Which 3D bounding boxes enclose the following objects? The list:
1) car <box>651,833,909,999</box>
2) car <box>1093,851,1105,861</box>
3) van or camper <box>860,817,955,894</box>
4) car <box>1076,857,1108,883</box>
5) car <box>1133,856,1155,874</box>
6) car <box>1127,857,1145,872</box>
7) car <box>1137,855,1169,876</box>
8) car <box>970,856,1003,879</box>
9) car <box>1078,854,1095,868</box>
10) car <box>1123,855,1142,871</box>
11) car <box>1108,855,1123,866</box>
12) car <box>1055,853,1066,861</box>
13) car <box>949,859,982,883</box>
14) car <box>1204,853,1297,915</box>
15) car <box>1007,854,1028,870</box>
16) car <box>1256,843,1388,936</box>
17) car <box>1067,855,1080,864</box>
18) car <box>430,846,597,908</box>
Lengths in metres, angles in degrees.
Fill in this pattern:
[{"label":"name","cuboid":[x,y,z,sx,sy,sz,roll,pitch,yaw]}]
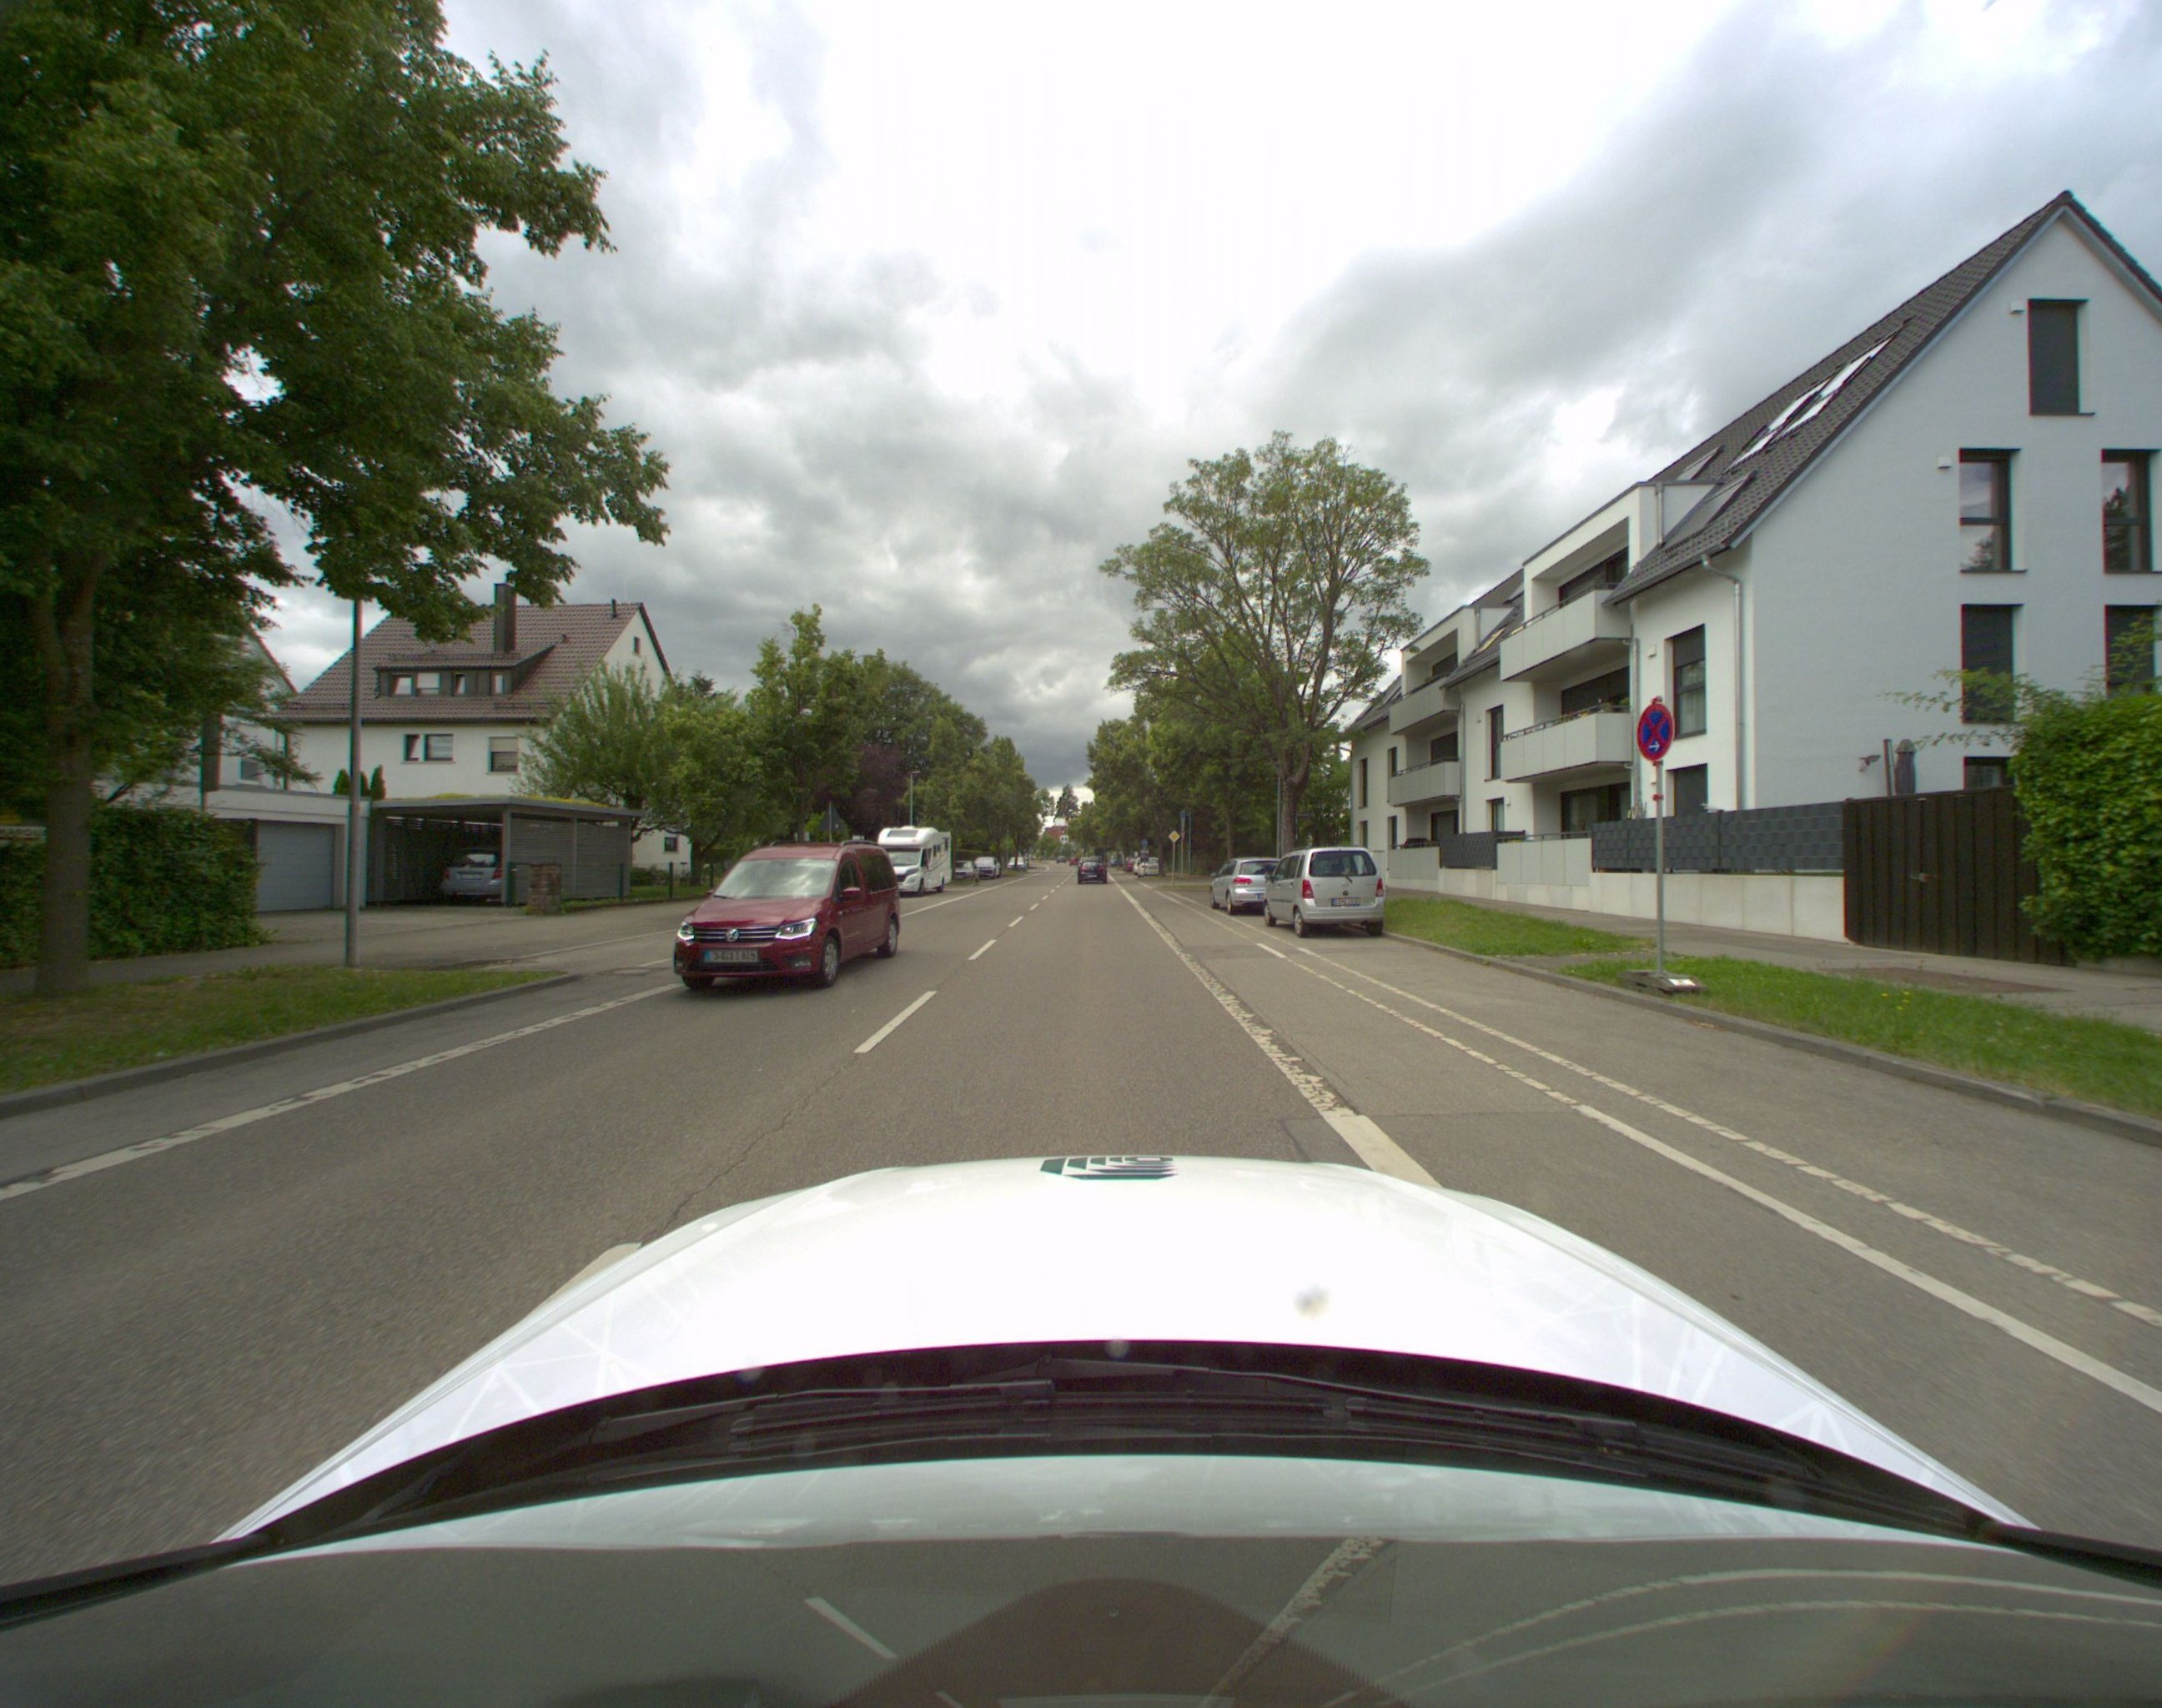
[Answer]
[{"label":"car","cuboid":[-3.834,0.695,11.385,1.754,1.803,4.769,-1,0,1]},{"label":"car","cuboid":[3.130,0.396,142.872,1.785,1.772,3.976,-1,0,-4]},{"label":"van or camper","cuboid":[-7.485,0.084,36.144,2.426,3.009,7.694,-1,0,1]},{"label":"car","cuboid":[0.601,0.925,48.300,1.778,1.449,3.555,-1,0,-2]},{"label":"car","cuboid":[5.264,0.921,68.406,1.610,1.460,3.657,-1,0,0]},{"label":"car","cuboid":[5.389,0.994,80.301,1.631,1.420,4.002,-1,0,2]},{"label":"car","cuboid":[5.271,0.802,59.962,2.013,1.443,5.026,0,0,1]},{"label":"car","cuboid":[-7.143,0.989,61.966,1.810,1.652,4.702,0,0,2]},{"label":"car","cuboid":[0.599,0.848,97.311,1.987,1.558,3.999,-1,0,0]},{"label":"car","cuboid":[5.422,0.911,85.780,1.633,1.615,4.167,0,0,-2]},{"label":"car","cuboid":[4.899,0.887,115.311,1.680,1.432,4.038,-1,0,-5]},{"label":"car","cuboid":[-4.256,0.617,167.758,1.990,1.508,3.994,0,-1,-4]},{"label":"car","cuboid":[-7.339,1.057,52.150,1.551,1.470,4.450,0,0,-1]},{"label":"car","cuboid":[4.495,0.757,22.170,1.682,1.493,4.227,-1,0,0]},{"label":"car","cuboid":[-6.949,0.843,89.118,1.867,1.688,4.866,-1,0,0]},{"label":"car","cuboid":[4.727,0.646,16.457,1.627,1.665,3.648,-1,0,1]},{"label":"car","cuboid":[-1.262,0.899,133.614,1.988,1.530,3.998,-1,0,-1]},{"label":"car","cuboid":[-15.428,0.583,22.443,1.700,1.530,4.001,-1,0,2]}]
